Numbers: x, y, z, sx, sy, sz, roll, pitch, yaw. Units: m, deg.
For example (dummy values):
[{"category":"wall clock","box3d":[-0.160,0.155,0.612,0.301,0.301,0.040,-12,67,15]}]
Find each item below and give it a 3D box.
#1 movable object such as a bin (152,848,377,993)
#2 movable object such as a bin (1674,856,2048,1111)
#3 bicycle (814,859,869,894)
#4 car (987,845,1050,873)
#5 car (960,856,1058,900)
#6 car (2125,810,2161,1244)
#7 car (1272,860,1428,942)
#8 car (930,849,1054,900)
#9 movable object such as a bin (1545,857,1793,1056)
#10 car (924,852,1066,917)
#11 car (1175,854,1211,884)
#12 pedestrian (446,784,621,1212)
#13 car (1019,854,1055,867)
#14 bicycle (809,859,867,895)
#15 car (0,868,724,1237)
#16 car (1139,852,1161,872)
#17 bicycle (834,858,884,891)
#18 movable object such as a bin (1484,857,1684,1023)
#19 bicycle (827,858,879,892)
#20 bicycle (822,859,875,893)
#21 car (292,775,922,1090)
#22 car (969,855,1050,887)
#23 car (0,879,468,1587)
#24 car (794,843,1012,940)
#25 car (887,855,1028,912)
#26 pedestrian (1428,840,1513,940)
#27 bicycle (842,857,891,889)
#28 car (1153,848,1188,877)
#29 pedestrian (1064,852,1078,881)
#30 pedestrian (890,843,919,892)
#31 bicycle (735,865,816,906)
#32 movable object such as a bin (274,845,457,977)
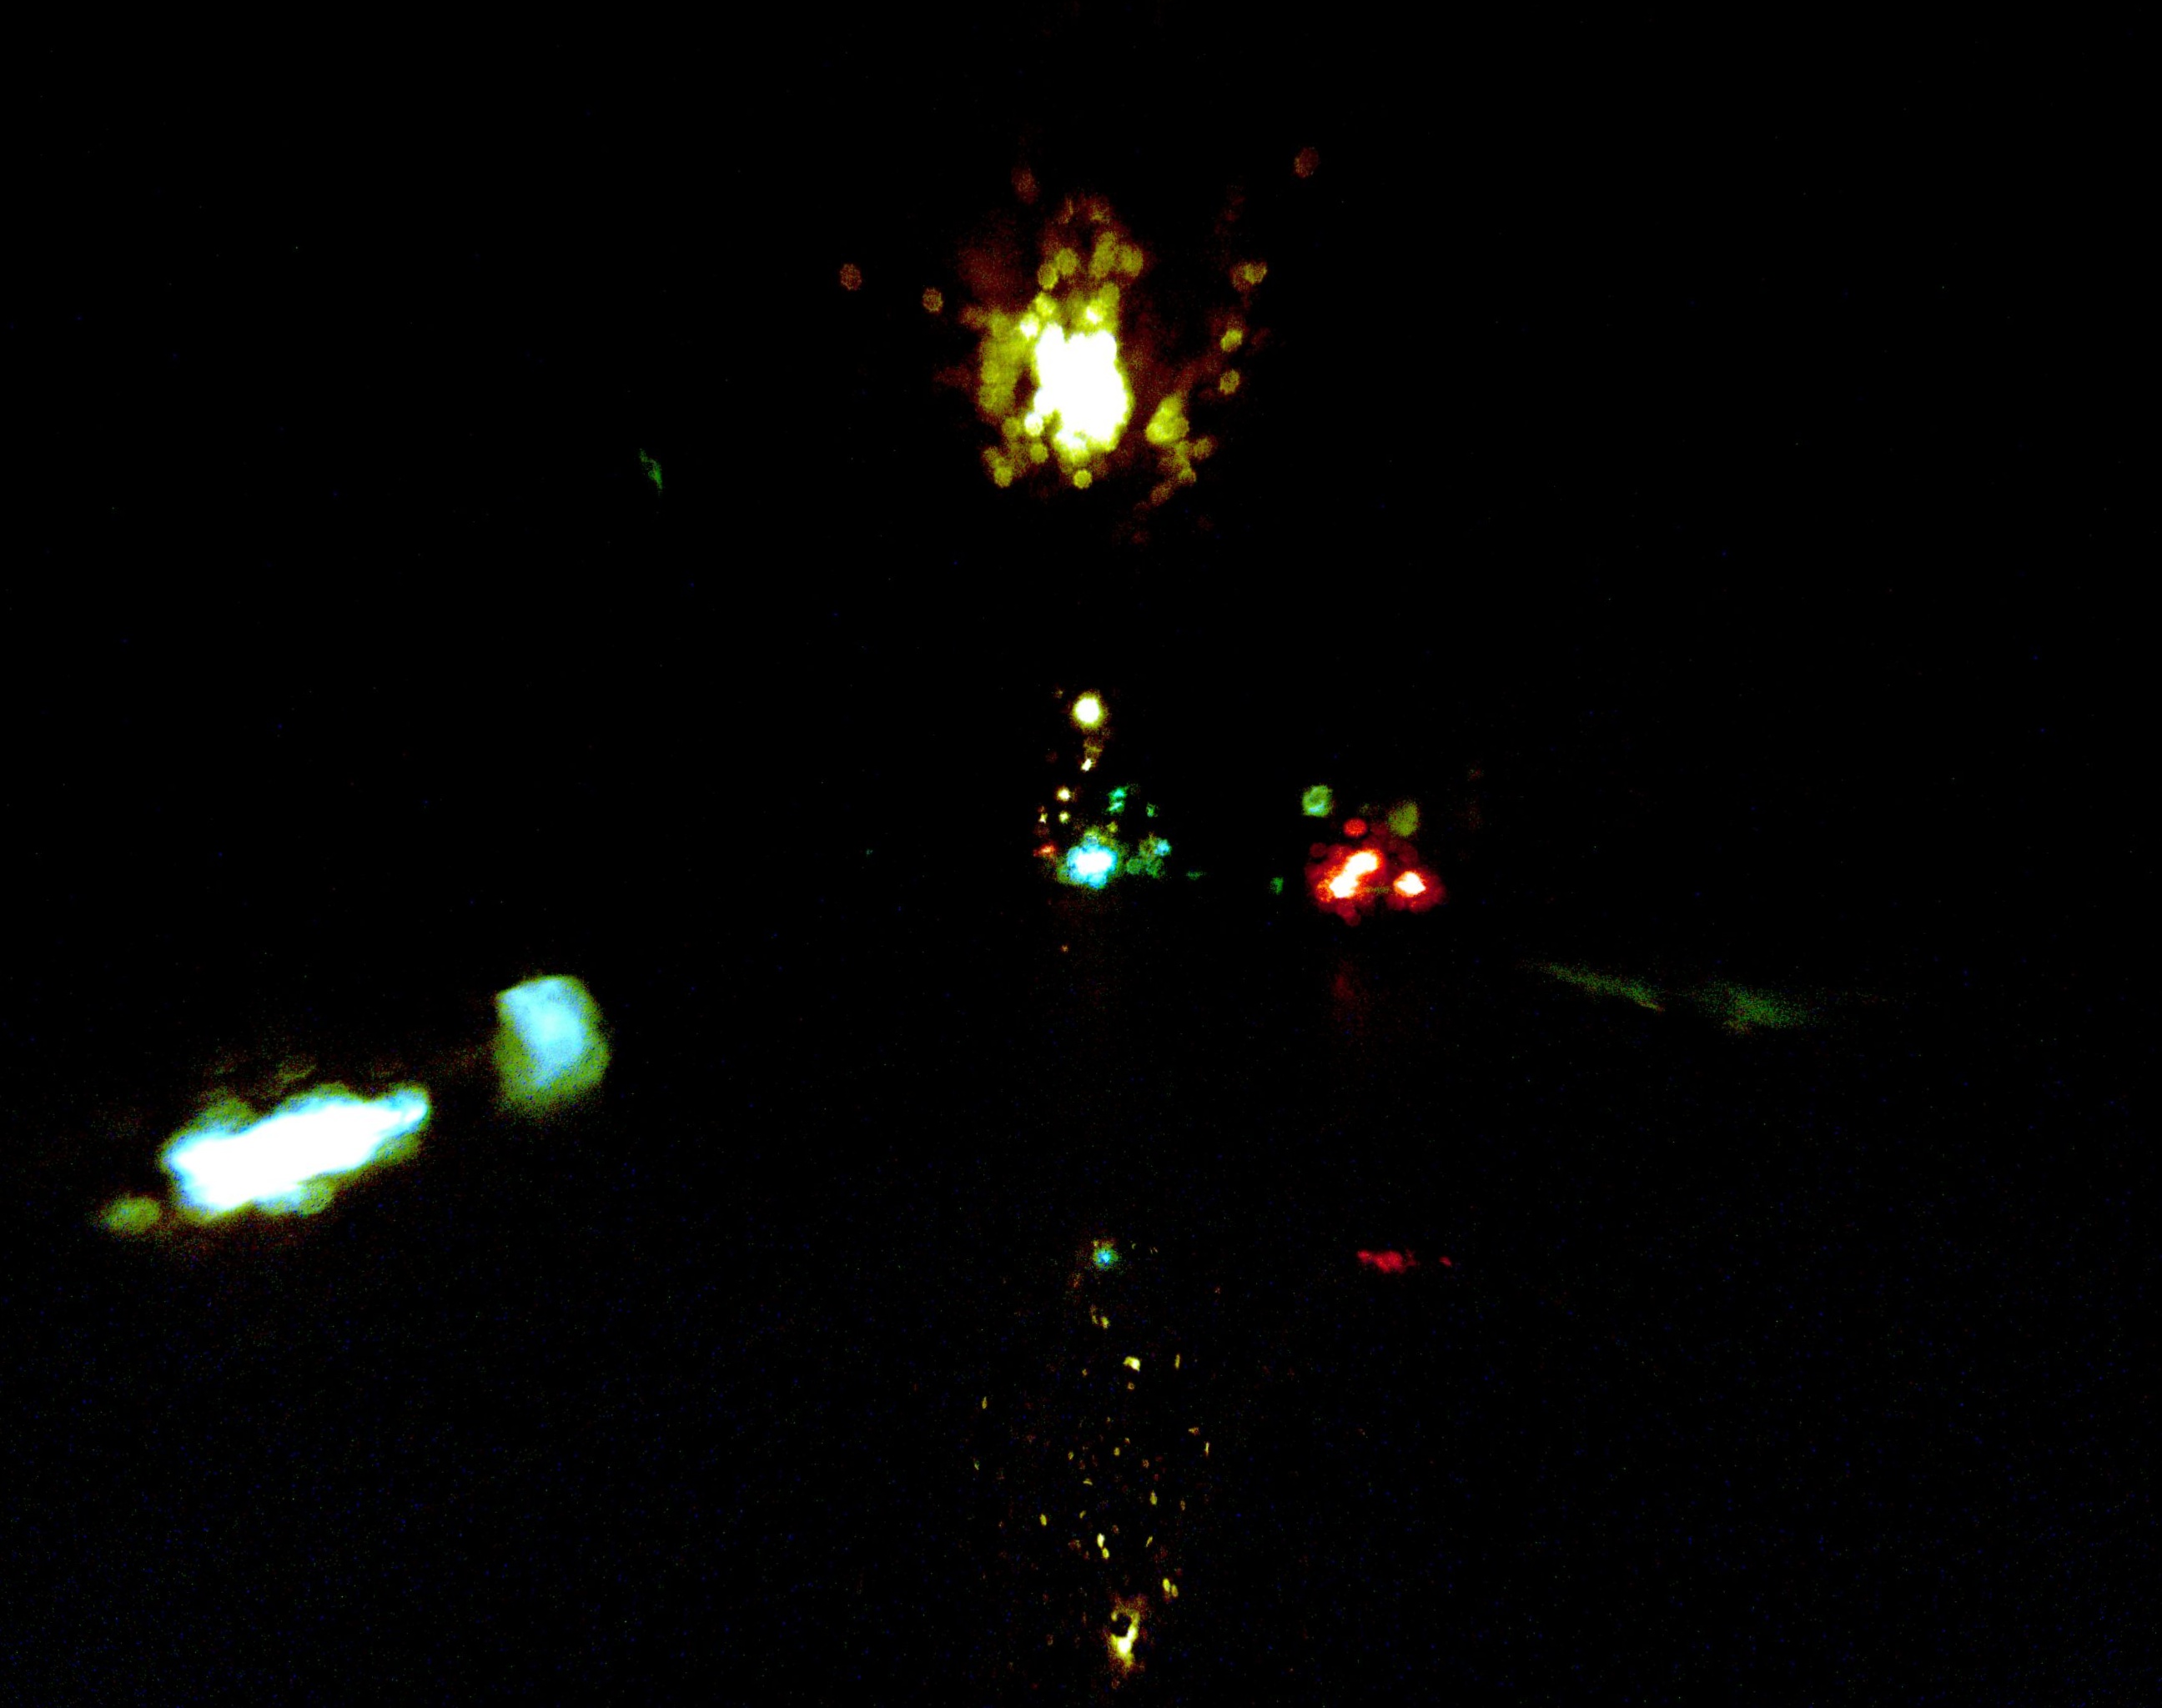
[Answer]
[{"category":"movable object such as a bin","box3d":[-8.596,0.659,8.065,1.258,1.364,0.998,4,1,1]},{"category":"movable object such as a bin","box3d":[5.035,0.771,5.046,1.265,1.451,1.151,-2,1,3]},{"category":"bicycle","box3d":[-8.240,0.773,26.198,1.690,1.140,0.596,2,0,-7]},{"category":"car","box3d":[-5.354,0.446,65.342,4.951,2.327,2.226,0,0,-33]},{"category":"car","box3d":[-2.914,0.927,30.595,3.569,1.601,1.710,-2,0,-21]},{"category":"car","box3d":[4.992,0.665,1.193,1.607,1.696,3.721,-1,0,1]},{"category":"car","box3d":[5.187,0.823,15.247,1.658,1.351,4.222,-1,0,1]},{"category":"car","box3d":[-3.225,0.731,27.612,4.113,1.754,1.855,1,-1,-27]},{"category":"movable object such as a bin","box3d":[4.765,0.782,6.278,1.167,1.451,1.107,-2,1,3]},{"category":"car","box3d":[-2.547,0.840,22.687,3.809,1.718,1.737,-2,0,-30]},{"category":"car","box3d":[5.989,0.767,41.048,1.550,1.434,3.564,-3,0,3]},{"category":"pedestrian","box3d":[-2.838,0.683,4.015,0.645,2.001,0.676,1,0,-30]},{"category":"car","box3d":[-5.343,0.784,92.331,4.123,1.483,1.590,1,0,-37]},{"category":"bicycle","box3d":[-8.138,0.774,25.493,1.690,1.140,0.665,2,0,-7]},{"category":"car","box3d":[-4.170,0.886,4.607,3.407,1.533,1.573,0,1,-35]},{"category":"car","box3d":[6.049,0.654,66.199,1.815,1.660,4.413,-1,0,6]},{"category":"bicycle","box3d":[-8.171,0.759,27.978,1.690,1.140,0.428,2,0,-7]},{"category":"movable object such as a bin","box3d":[4.860,0.789,7.453,1.211,1.451,1.107,-2,1,3]},{"category":"bicycle","box3d":[-8.234,0.765,27.445,1.690,1.140,0.485,2,0,-7]},{"category":"bicycle","box3d":[-8.200,0.767,26.879,1.690,1.140,0.541,2,0,-7]},{"category":"car","box3d":[-4.192,0.550,7.538,4.734,2.235,1.941,0,1,-35]},{"category":"car","box3d":[-3.591,0.861,38.293,3.717,1.514,1.653,1,1,-24]},{"category":"car","box3d":[-3.927,0.882,1.771,3.659,1.533,1.556,0,1,-29]},{"category":"car","box3d":[-3.803,0.749,16.548,4.256,1.848,1.712,1,1,-35]},{"category":"car","box3d":[-3.983,0.911,24.606,4.068,1.601,1.840,-2,0,-29]},{"category":"pedestrian","box3d":[7.156,0.642,14.002,1.135,1.772,0.788,-1,0,1]},{"category":"bicycle","box3d":[-8.057,0.725,28.552,1.690,1.140,0.428,2,0,-7]},{"category":"car","box3d":[5.907,0.553,50.581,1.871,1.835,4.827,0,0,2]},{"category":"pedestrian","box3d":[-0.591,0.748,46.221,0.824,1.760,1.177,0,0,0]},{"category":"pedestrian","box3d":[-6.917,0.510,29.870,0.841,1.825,0.947,4,2,-3]},{"category":"bicycle","box3d":[-8.350,0.862,20.818,1.977,1.048,0.509,2,1,-6]},{"category":"movable object such as a bin","box3d":[-8.633,0.655,9.229,1.212,1.442,0.998,4,1,1]}]
